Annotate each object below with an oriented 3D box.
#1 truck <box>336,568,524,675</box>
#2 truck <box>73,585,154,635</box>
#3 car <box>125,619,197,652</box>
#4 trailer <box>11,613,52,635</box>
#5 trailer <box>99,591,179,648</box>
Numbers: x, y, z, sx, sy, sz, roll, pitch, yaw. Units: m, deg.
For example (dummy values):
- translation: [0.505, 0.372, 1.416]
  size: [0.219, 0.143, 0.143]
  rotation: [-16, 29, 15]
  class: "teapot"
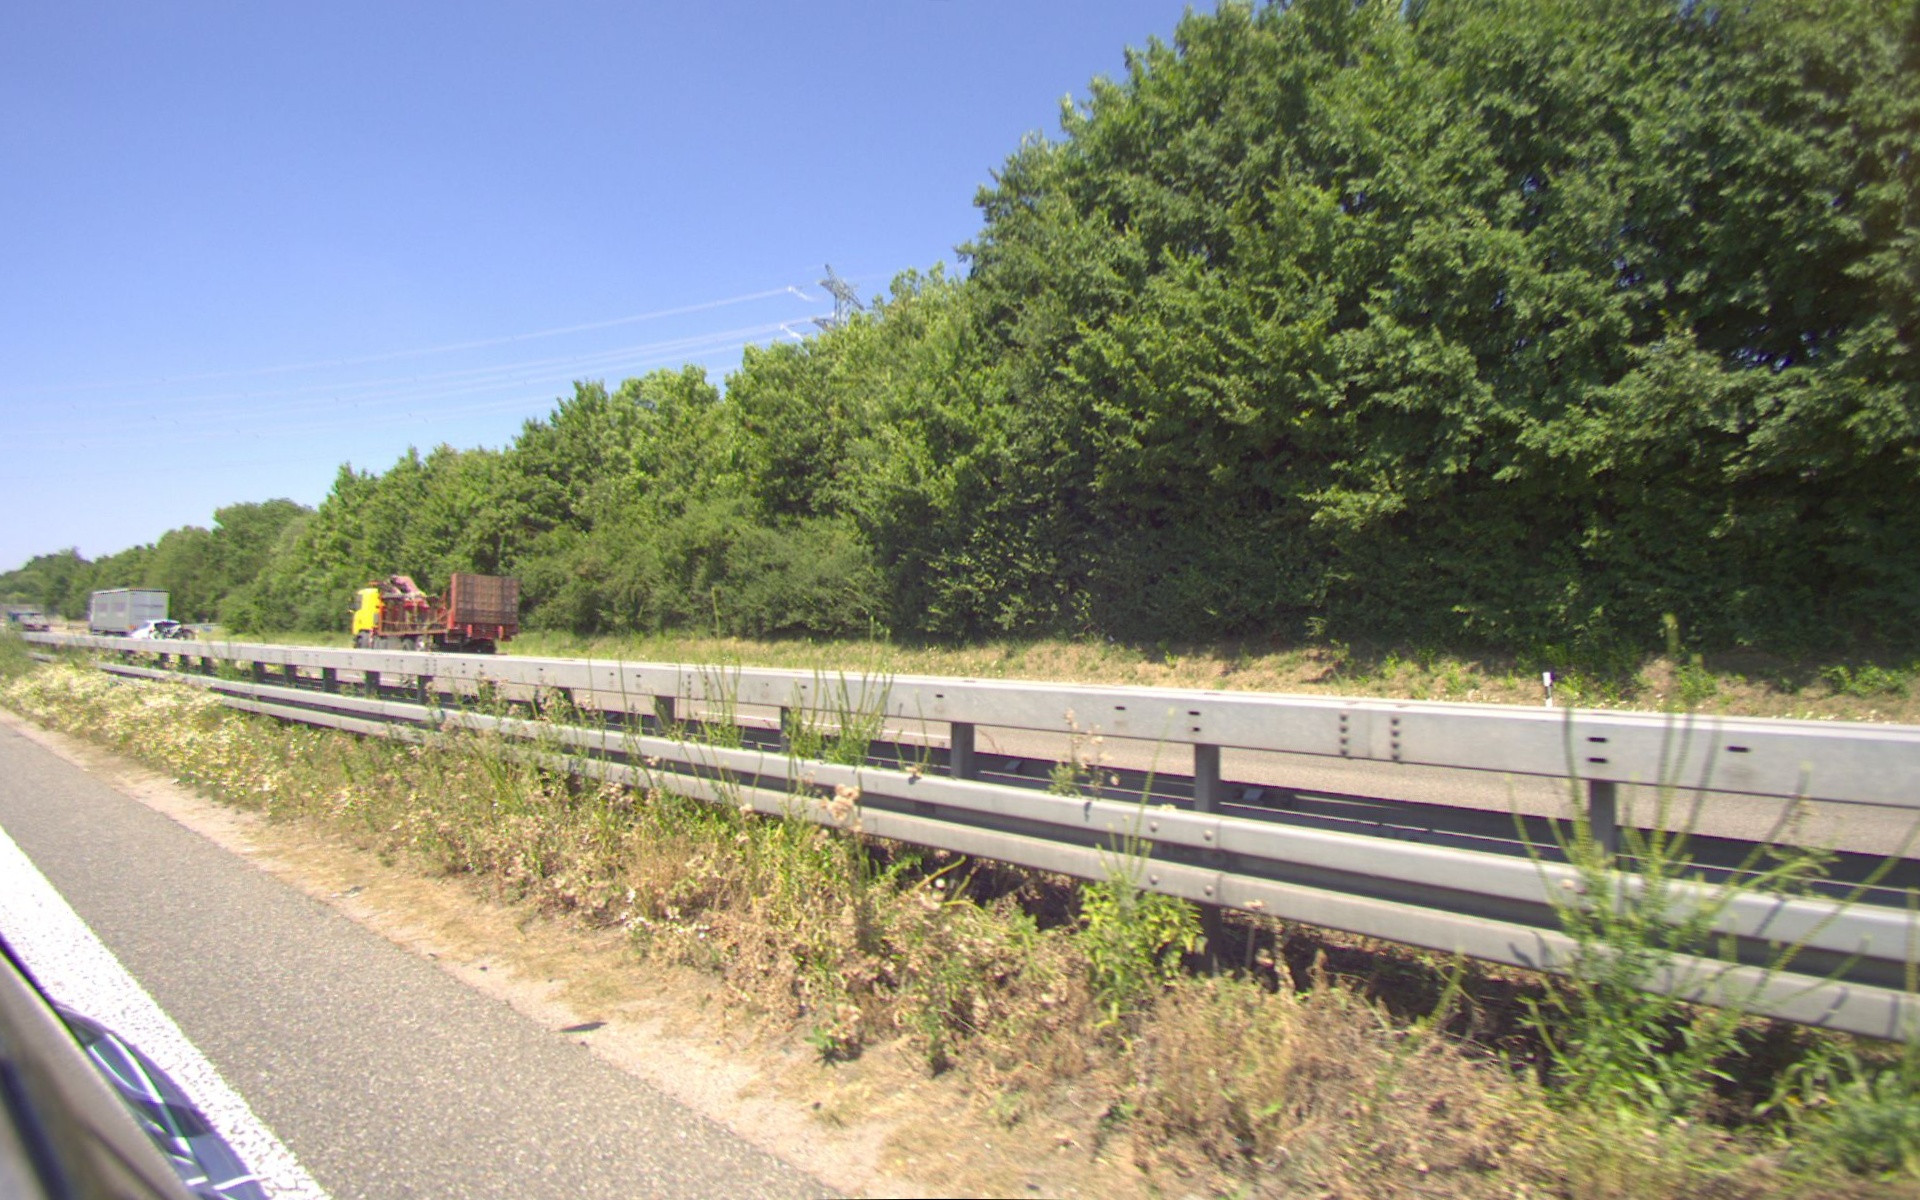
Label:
- translation: [-21.385, 0.787, 40.375]
  size: [11.152, 3.766, 2.754]
  rotation: [-1, 0, 41]
  class: "truck"
- translation: [-72.258, 0.877, 86.270]
  size: [11.115, 4.025, 3.418]
  rotation: [-1, -2, 40]
  class: "truck"
- translation: [-42.727, 1.877, 54.094]
  size: [5.609, 1.683, 1.973]
  rotation: [-1, -3, 41]
  class: "car"
- translation: [-117.729, 2.986, 128.337]
  size: [8.531, 2.659, 3.112]
  rotation: [-1, 0, 43]
  class: "trailer"
- translation: [-65.103, 1.484, 80.186]
  size: [7.964, 4.312, 3.418]
  rotation: [-1, 0, 40]
  class: "trailer"
